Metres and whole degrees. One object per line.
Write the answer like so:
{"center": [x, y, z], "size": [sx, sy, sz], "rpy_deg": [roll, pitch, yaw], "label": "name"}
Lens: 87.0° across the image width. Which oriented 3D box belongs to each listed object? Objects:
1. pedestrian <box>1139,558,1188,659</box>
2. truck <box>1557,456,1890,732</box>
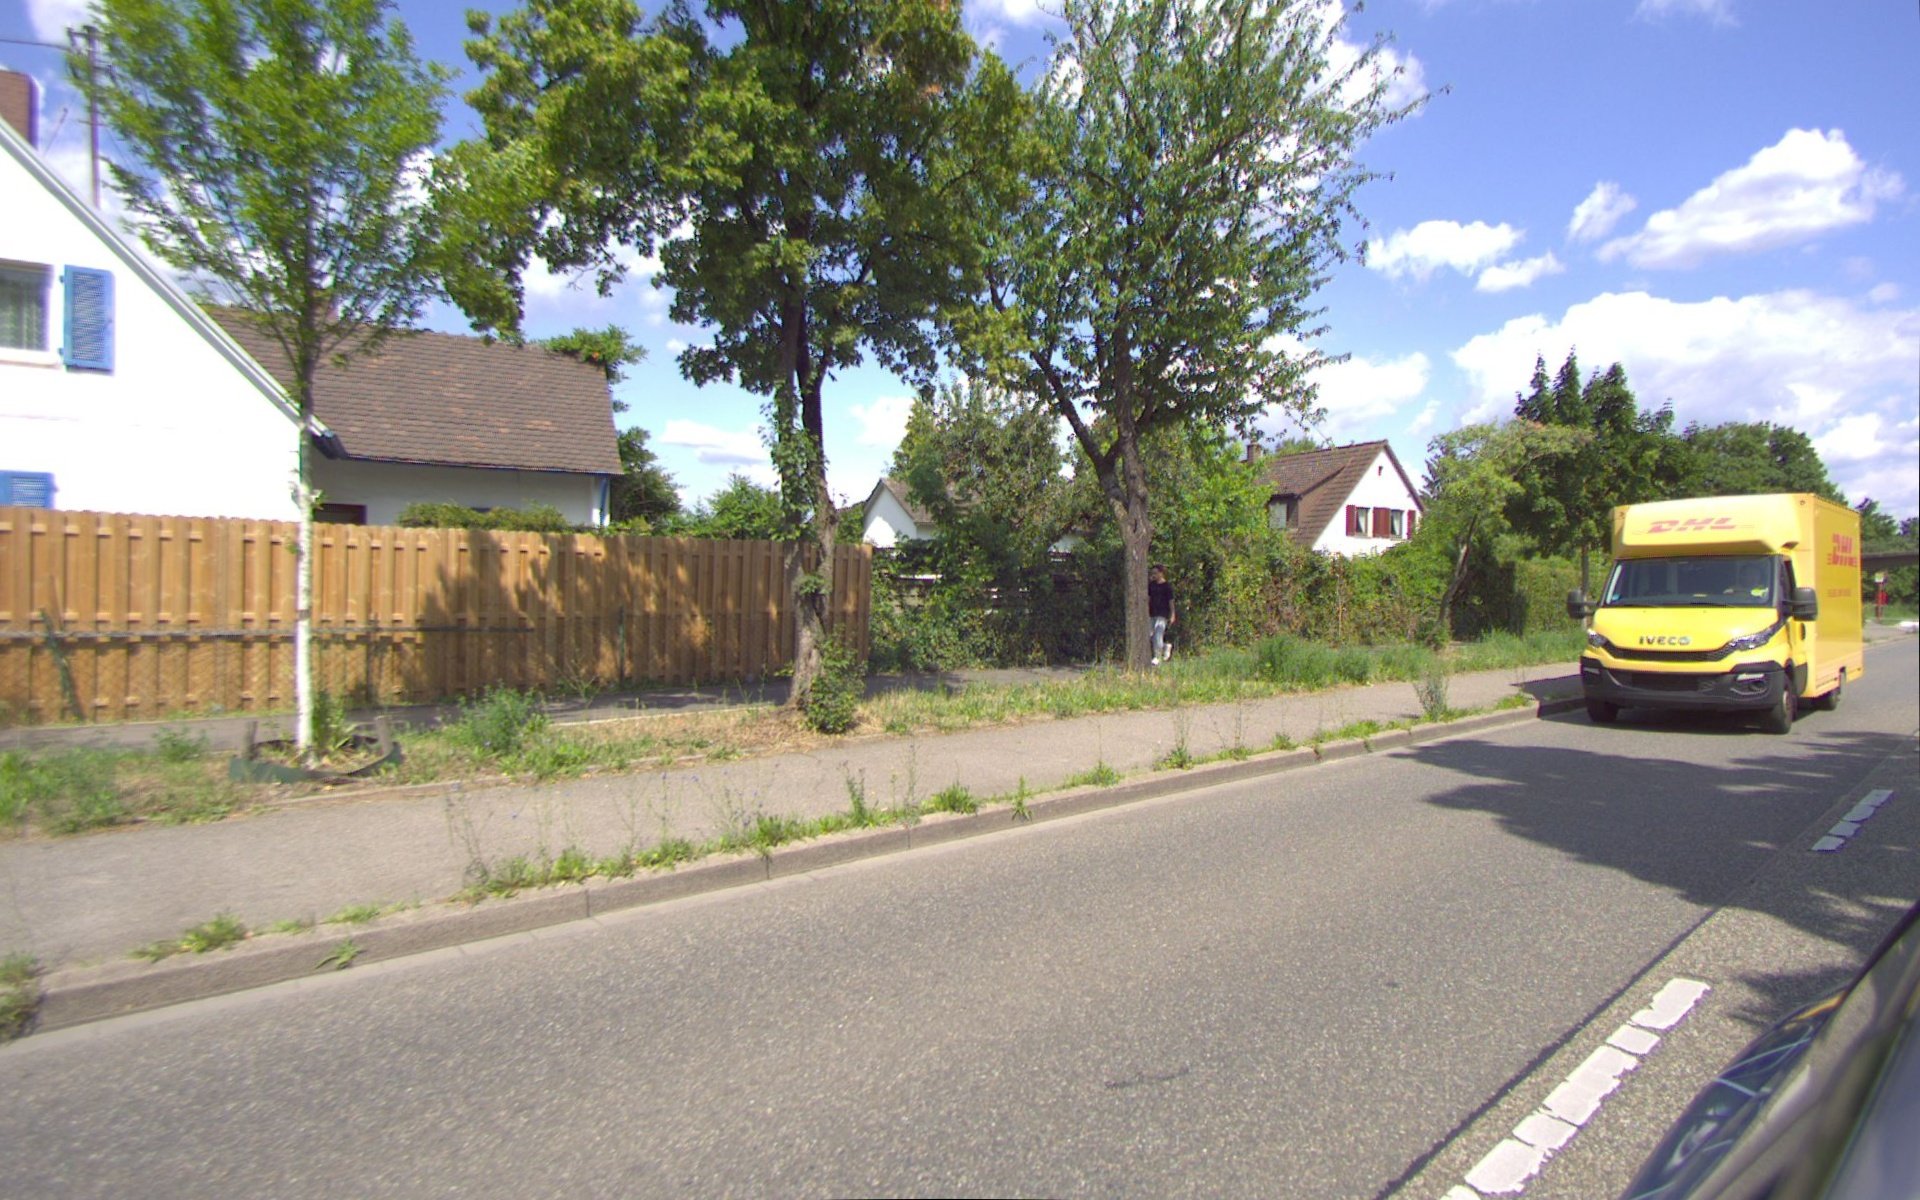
{"center": [3.502, 0.144, 17.425], "size": [0.623, 1.698, 0.561], "rpy_deg": [0, 0, -42], "label": "pedestrian"}
{"center": [11.009, -0.019, 14.201], "size": [7.889, 2.917, 2.268], "rpy_deg": [1, -1, -42], "label": "truck"}
